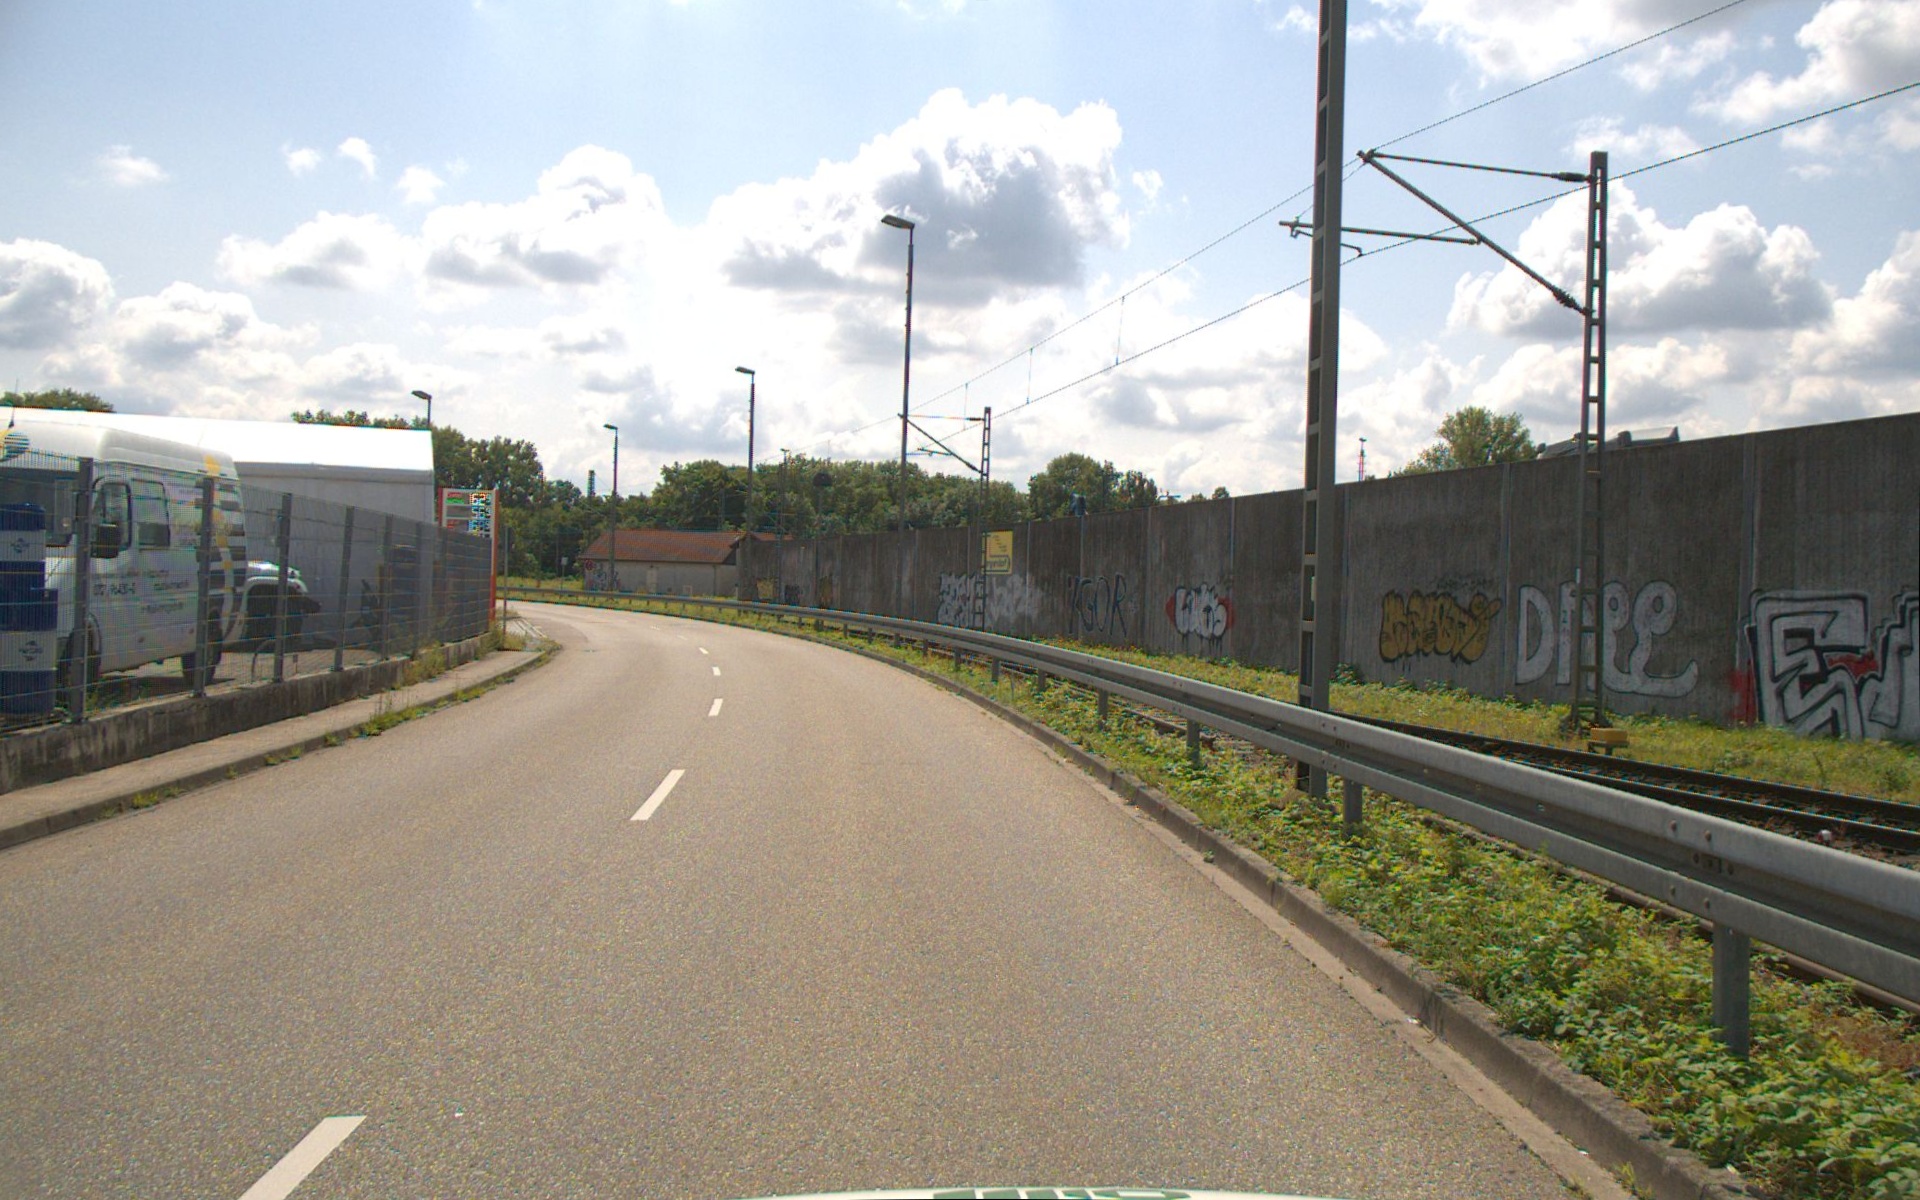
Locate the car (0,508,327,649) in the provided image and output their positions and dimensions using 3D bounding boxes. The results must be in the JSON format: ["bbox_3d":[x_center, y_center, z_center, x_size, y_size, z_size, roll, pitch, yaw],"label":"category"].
[{"bbox_3d":[-12.453,-0.295,26.090,4.495,2.062,2.043,1,0,-24],"label":"car"}]

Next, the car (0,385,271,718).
[{"bbox_3d":[-8.615,-0.423,16.025,2.080,2.581,6.702,1,0,-10],"label":"car"}]
